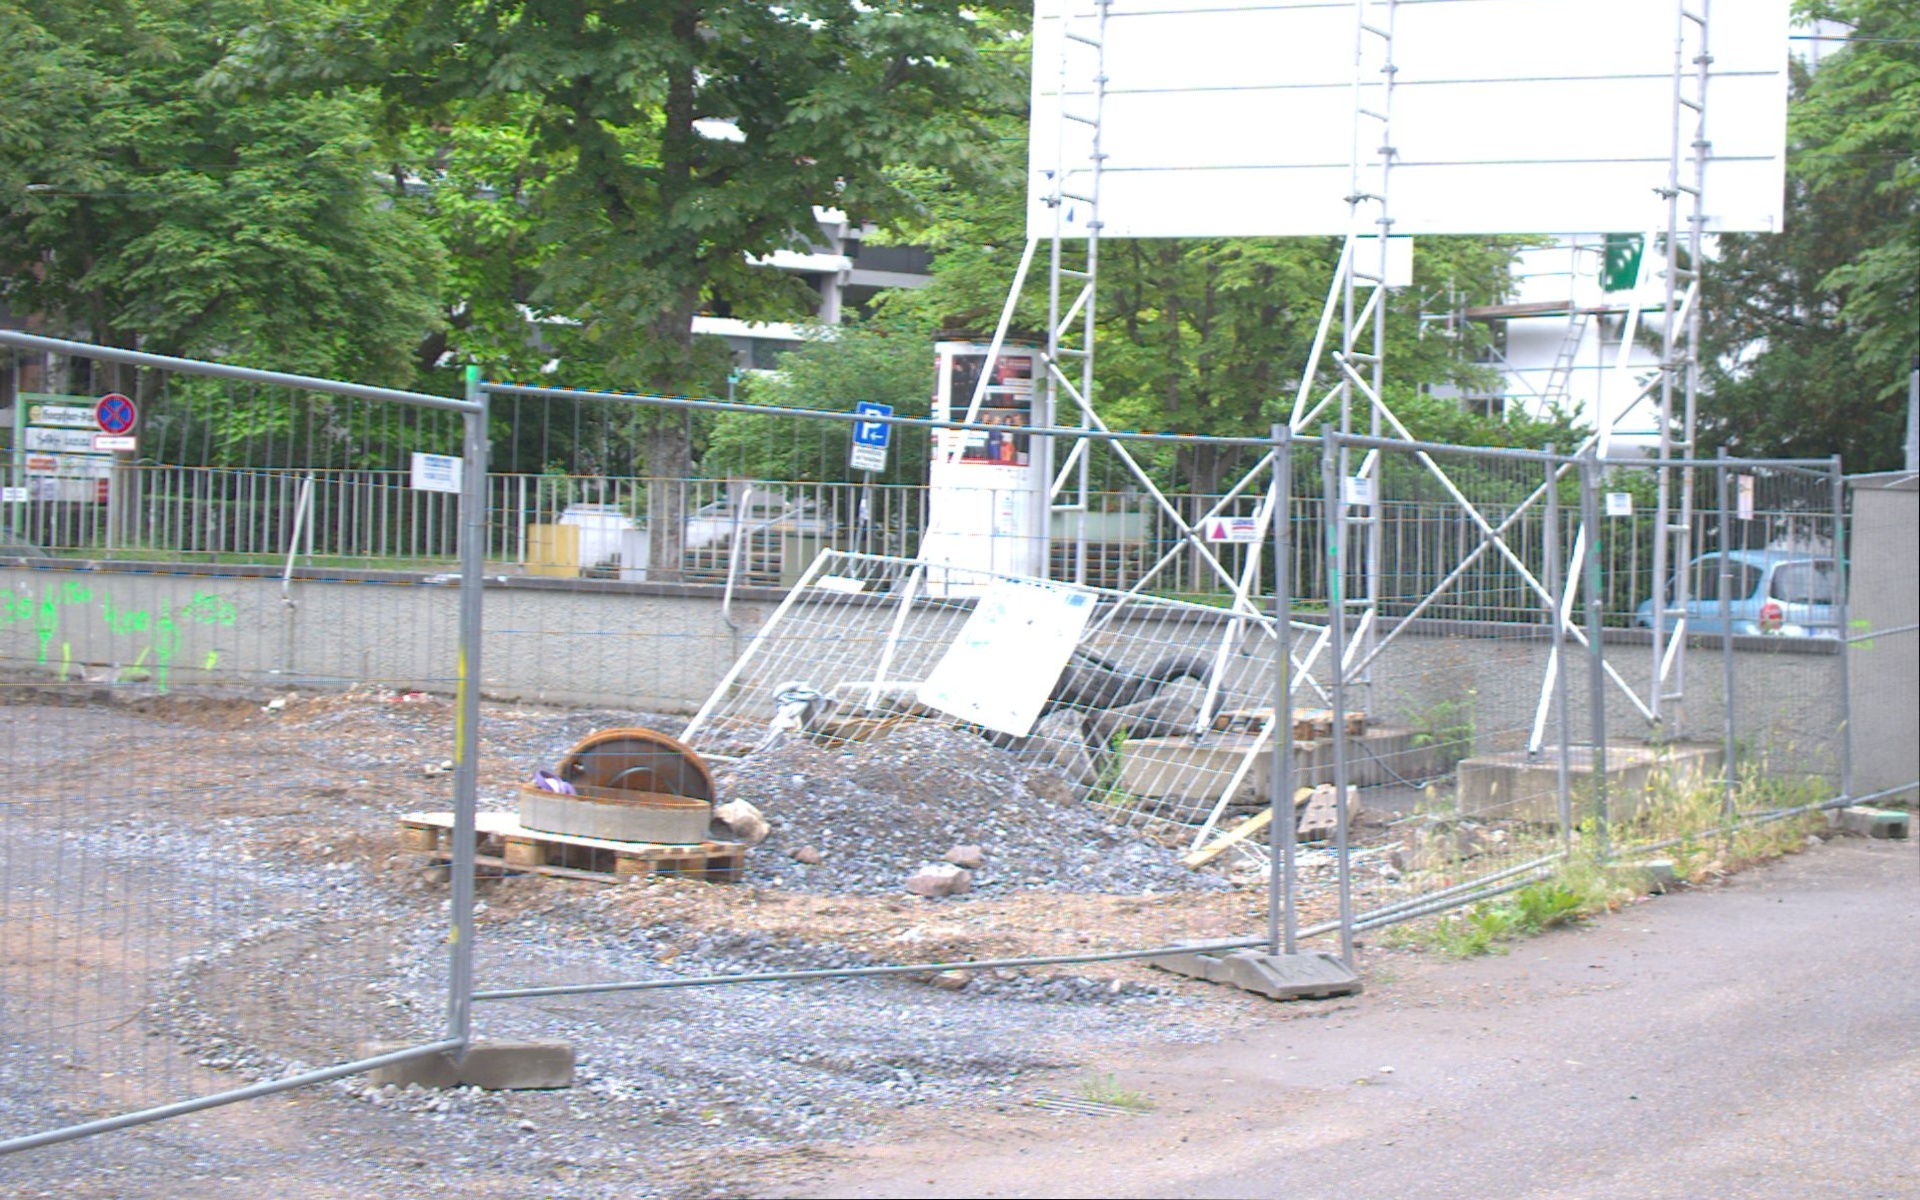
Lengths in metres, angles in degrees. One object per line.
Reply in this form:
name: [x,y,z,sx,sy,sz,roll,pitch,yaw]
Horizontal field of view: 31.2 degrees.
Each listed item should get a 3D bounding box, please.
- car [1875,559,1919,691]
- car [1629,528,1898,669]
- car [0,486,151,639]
car: [11.996,0.321,38.962,1.613,1.506,3.338,2,1,-16]
car: [9.399,-0.046,40.443,1.613,1.531,3.338,2,1,-16]
car: [-10.073,-0.425,33.573,3.993,1.413,1.830,2,1,28]
